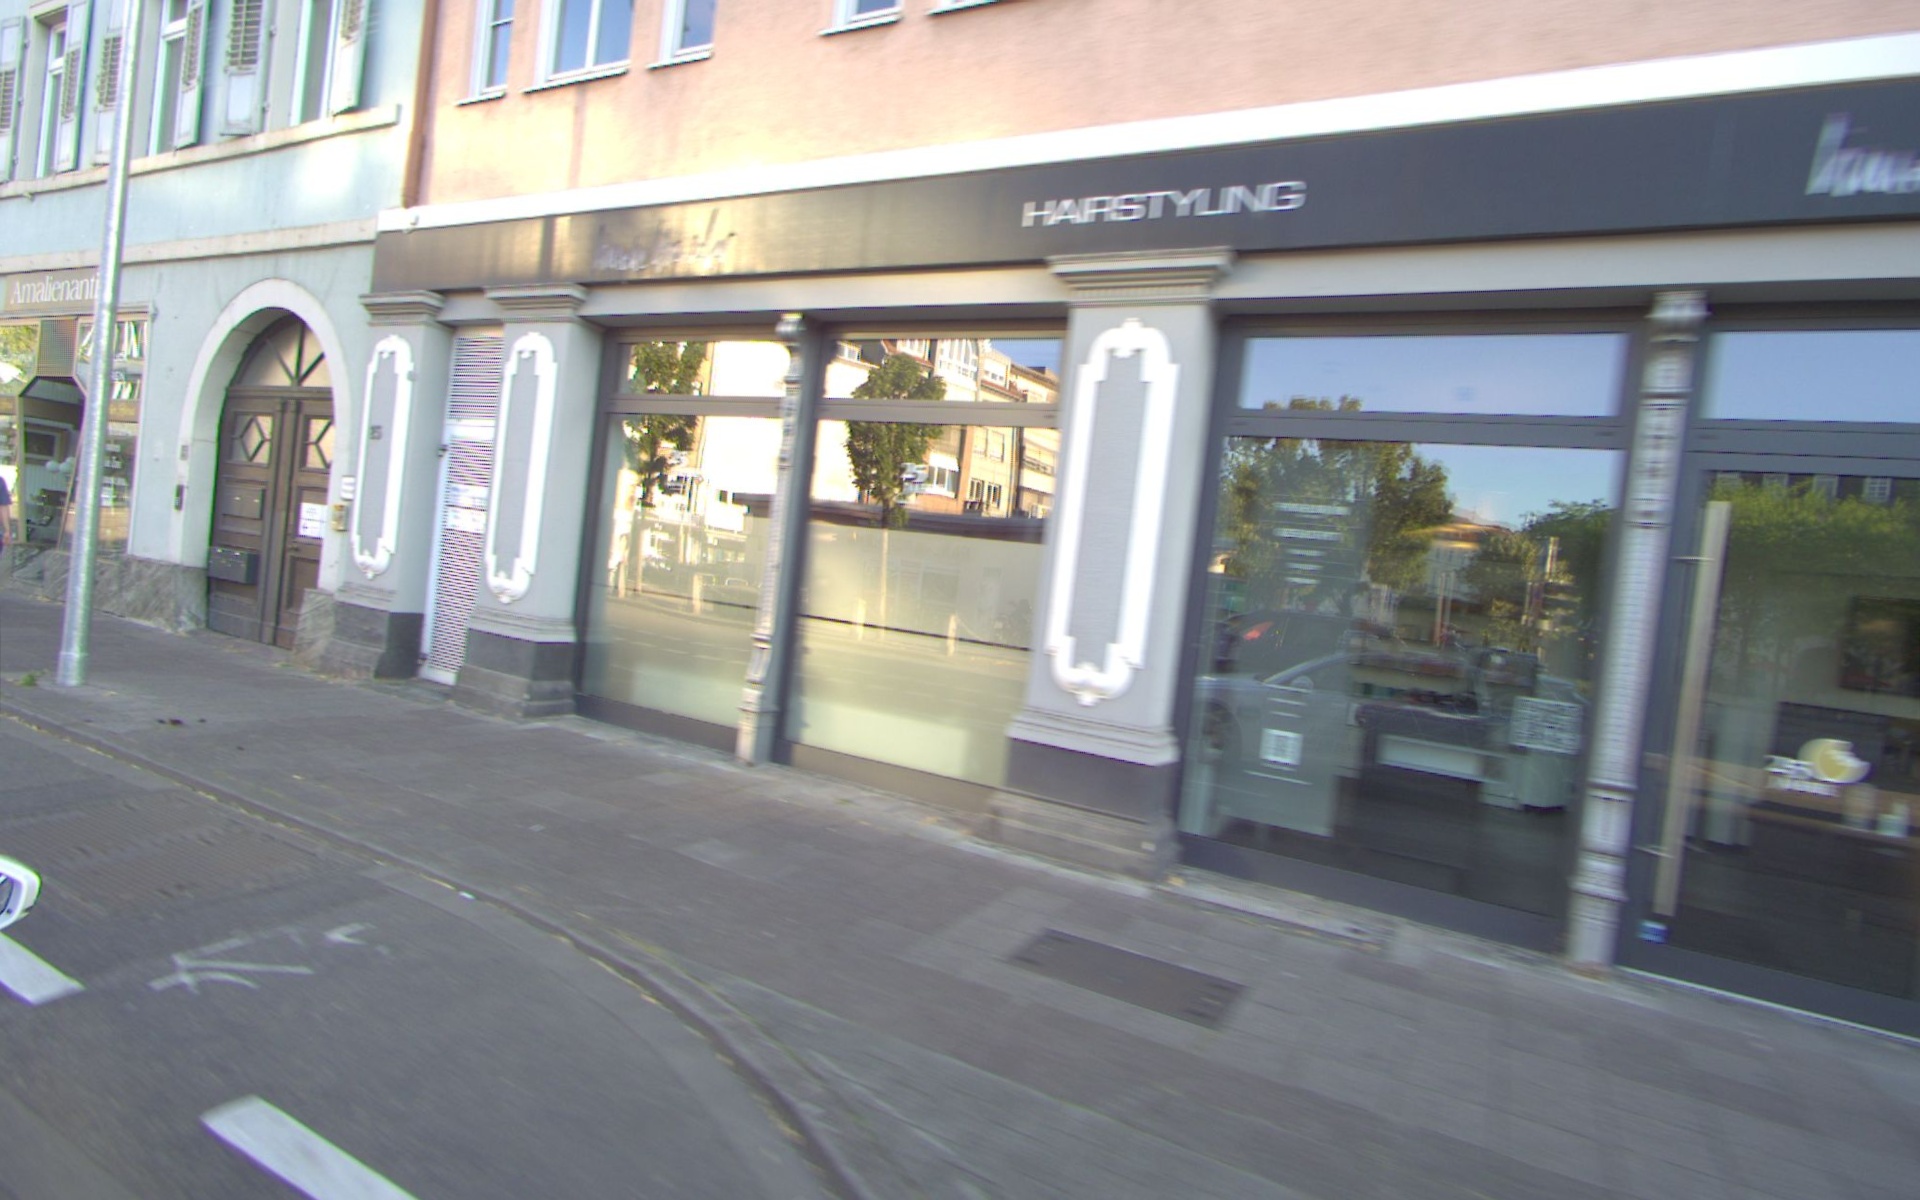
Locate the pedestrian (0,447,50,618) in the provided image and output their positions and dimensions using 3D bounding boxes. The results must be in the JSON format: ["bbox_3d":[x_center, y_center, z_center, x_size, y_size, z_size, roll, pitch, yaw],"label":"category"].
[{"bbox_3d":[-9.859,-0.715,10.028,0.856,1.663,0.825,7,2,27],"label":"pedestrian"}]
